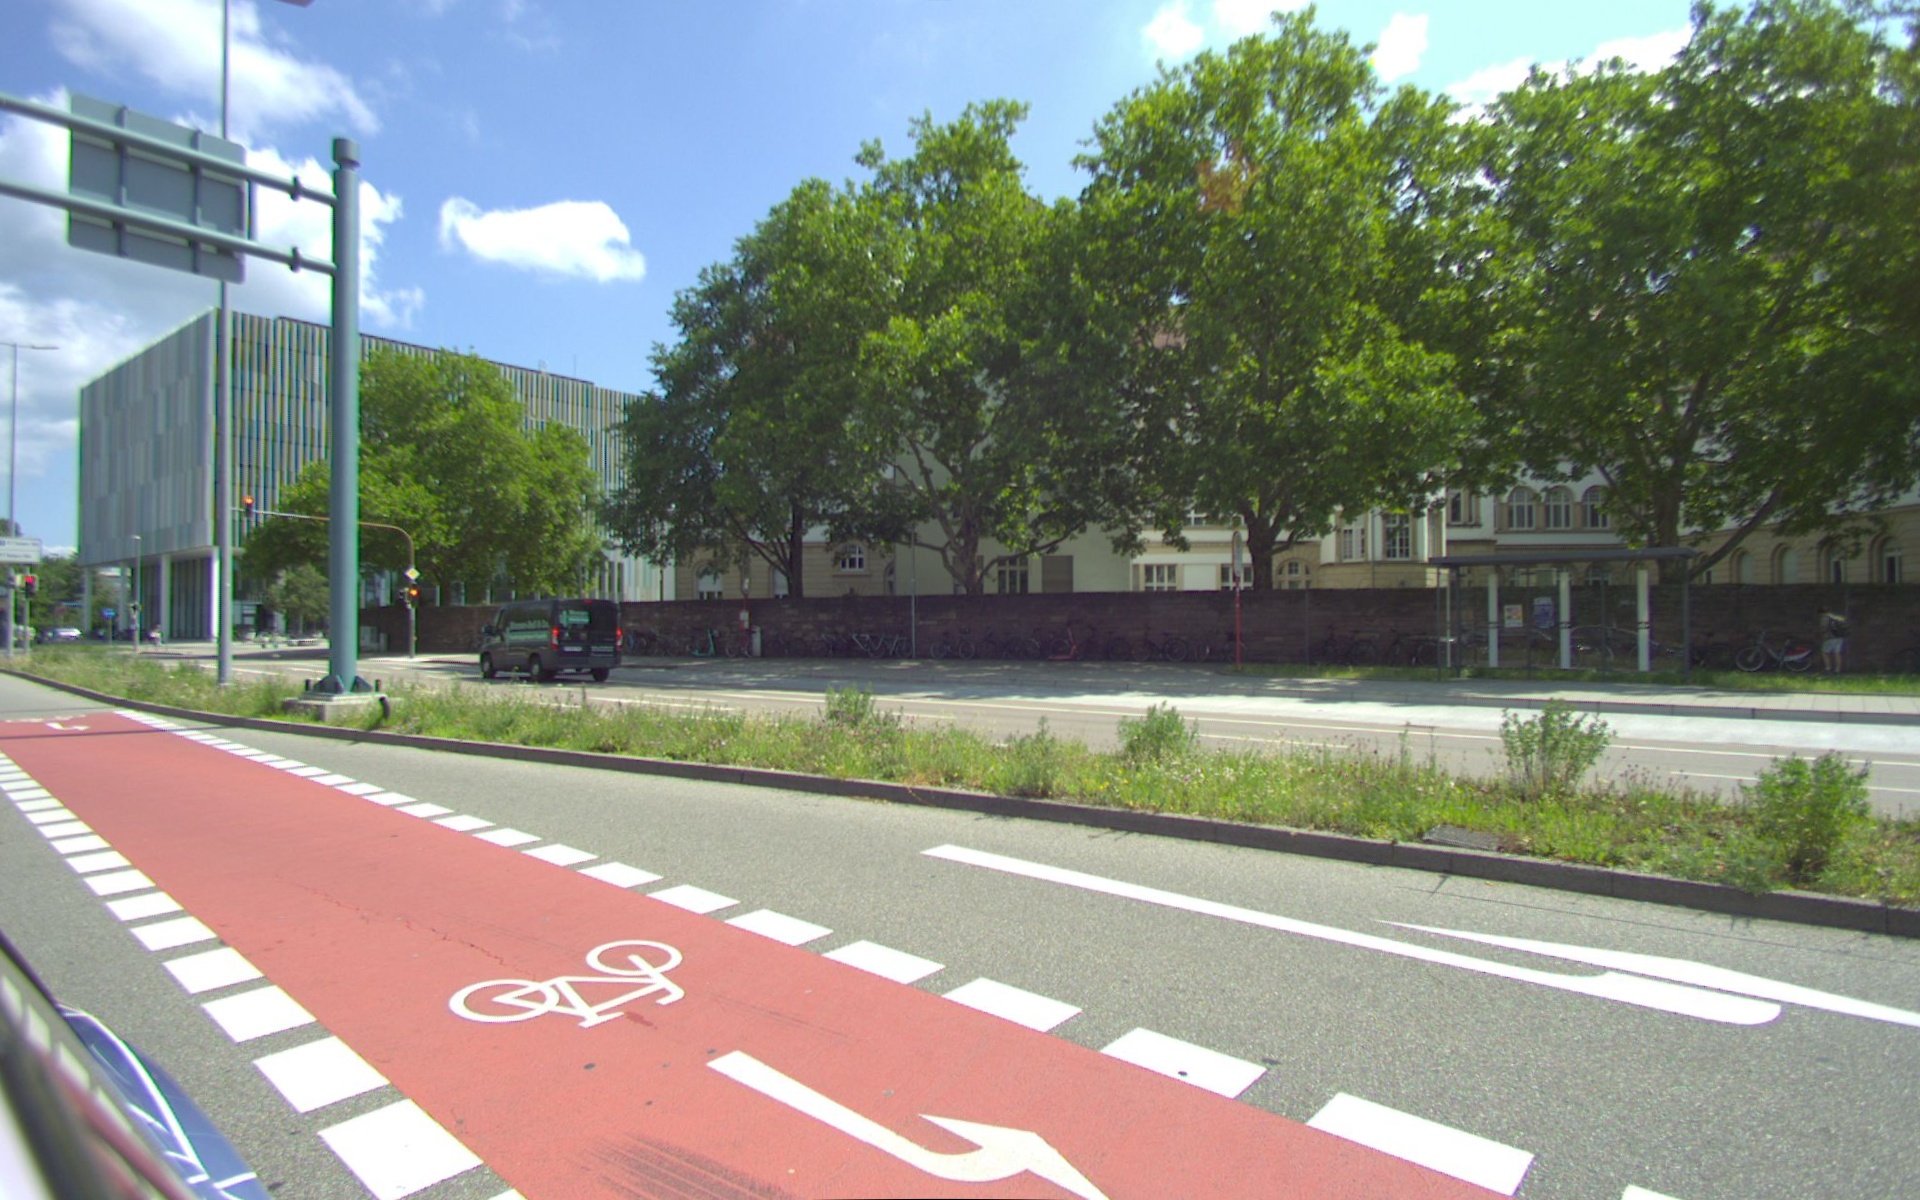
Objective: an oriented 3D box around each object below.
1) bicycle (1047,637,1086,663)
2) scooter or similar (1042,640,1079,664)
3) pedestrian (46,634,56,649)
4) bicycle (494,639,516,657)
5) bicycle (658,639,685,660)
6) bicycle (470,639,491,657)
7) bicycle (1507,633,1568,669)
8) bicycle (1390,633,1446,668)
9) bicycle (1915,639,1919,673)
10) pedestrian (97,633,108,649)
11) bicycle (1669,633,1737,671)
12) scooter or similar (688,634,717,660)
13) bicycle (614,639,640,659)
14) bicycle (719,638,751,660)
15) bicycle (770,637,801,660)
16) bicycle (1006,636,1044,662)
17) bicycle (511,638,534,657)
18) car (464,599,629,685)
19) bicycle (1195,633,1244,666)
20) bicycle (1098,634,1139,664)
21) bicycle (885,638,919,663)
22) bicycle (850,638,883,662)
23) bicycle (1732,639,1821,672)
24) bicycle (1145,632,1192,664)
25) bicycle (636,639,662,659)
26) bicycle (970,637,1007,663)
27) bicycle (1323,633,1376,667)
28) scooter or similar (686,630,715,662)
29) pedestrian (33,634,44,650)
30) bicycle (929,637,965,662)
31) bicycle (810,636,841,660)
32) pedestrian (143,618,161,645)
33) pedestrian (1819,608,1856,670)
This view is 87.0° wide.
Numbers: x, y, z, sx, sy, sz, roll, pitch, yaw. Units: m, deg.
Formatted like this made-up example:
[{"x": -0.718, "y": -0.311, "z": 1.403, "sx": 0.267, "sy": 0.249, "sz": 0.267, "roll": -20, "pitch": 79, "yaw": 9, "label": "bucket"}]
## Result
[{"x": 3.397, "y": 1.596, "z": 32.454, "sx": 1.230, "sy": 0.837, "sz": 0.262, "roll": -1, "pitch": -2, "yaw": 28, "label": "bicycle"}, {"x": 3.167, "y": 1.631, "z": 31.804, "sx": 1.133, "sy": 0.734, "sz": 0.264, "roll": -1, "pitch": -2, "yaw": 18, "label": "scooter or similar"}, {"x": -88.821, "y": 4.060, "z": 98.838, "sx": 0.686, "sy": 1.464, "sz": 0.689, "roll": 1, "pitch": -3, "yaw": -45, "label": "pedestrian"}, {"x": -21.091, "y": 2.230, "z": 46.914, "sx": 1.231, "sy": 0.837, "sz": 0.262, "roll": -2, "pitch": -2, "yaw": 30, "label": "bicycle"}, {"x": -11.579, "y": 1.970, "z": 40.577, "sx": 1.231, "sy": 0.837, "sz": 0.262, "roll": -2, "pitch": -2, "yaw": 30, "label": "bicycle"}, {"x": -22.718, "y": 2.254, "z": 47.964, "sx": 1.231, "sy": 0.837, "sz": 0.262, "roll": -2, "pitch": -2, "yaw": 30, "label": "bicycle"}, {"x": 15.619, "y": 1.371, "z": 27.385, "sx": 1.384, "sy": 0.972, "sz": 0.263, "roll": -1, "pitch": -2, "yaw": 18, "label": "bicycle"}, {"x": 12.852, "y": 1.407, "z": 28.415, "sx": 1.384, "sy": 0.972, "sz": 0.263, "roll": -1, "pitch": -2, "yaw": 18, "label": "bicycle"}, {"x": 24.429, "y": 1.359, "z": 24.598, "sx": 1.734, "sy": 0.823, "sz": 0.382, "roll": -1, "pitch": -2, "yaw": 18, "label": "bicycle"}, {"x": -76.812, "y": 3.686, "z": 90.620, "sx": 0.686, "sy": 1.464, "sz": 0.689, "roll": 1, "pitch": -2, "yaw": -44, "label": "pedestrian"}, {"x": 19.221, "y": 1.348, "z": 26.191, "sx": 1.384, "sy": 0.972, "sz": 0.263, "roll": -1, "pitch": -2, "yaw": 18, "label": "bicycle"}, {"x": -10.155, "y": 1.863, "z": 39.915, "sx": 1.133, "sy": 1.028, "sz": 0.264, "roll": -1, "pitch": -2, "yaw": 19, "label": "scooter or similar"}, {"x": -13.898, "y": 2.031, "z": 42.212, "sx": 1.231, "sy": 0.837, "sz": 0.262, "roll": -2, "pitch": -2, "yaw": 30, "label": "bicycle"}, {"x": -8.658, "y": 1.889, "z": 38.946, "sx": 1.226, "sy": 0.837, "sz": 0.263, "roll": -1, "pitch": -2, "yaw": 19, "label": "bicycle"}, {"x": -6.481, "y": 1.813, "z": 37.562, "sx": 1.231, "sy": 0.837, "sz": 0.262, "roll": -1, "pitch": -2, "yaw": 30, "label": "bicycle"}, {"x": 2.121, "y": 1.613, "z": 33.065, "sx": 1.230, "sy": 0.837, "sz": 0.262, "roll": -1, "pitch": -2, "yaw": 28, "label": "bicycle"}, {"x": -19.983, "y": 2.156, "z": 46.195, "sx": 1.230, "sy": 0.837, "sz": 0.262, "roll": -1, "pitch": -2, "yaw": 29, "label": "bicycle"}, {"x": -11.587, "y": 1.194, "z": 28.201, "sx": 5.014, "sy": 2.192, "sz": 2.126, "roll": -2, "pitch": -4, "yaw": 40, "label": "car"}, {"x": 7.795, "y": 1.472, "z": 30.412, "sx": 1.389, "sy": 0.972, "sz": 0.262, "roll": -1, "pitch": -2, "yaw": 28, "label": "bicycle"}, {"x": 4.938, "y": 1.525, "z": 31.600, "sx": 1.230, "sy": 0.915, "sz": 0.262, "roll": -1, "pitch": -2, "yaw": 28, "label": "bicycle"}, {"x": -2.026, "y": 1.754, "z": 35.113, "sx": 1.231, "sy": 0.837, "sz": 0.262, "roll": -1, "pitch": -2, "yaw": 30, "label": "bicycle"}, {"x": -3.320, "y": 1.757, "z": 35.931, "sx": 1.231, "sy": 0.837, "sz": 0.262, "roll": -1, "pitch": -2, "yaw": 30, "label": "bicycle"}, {"x": 20.733, "y": 1.408, "z": 25.717, "sx": 1.734, "sy": 0.823, "sz": 0.327, "roll": -1, "pitch": -2, "yaw": 18, "label": "bicycle"}, {"x": 6.389, "y": 1.479, "z": 31.032, "sx": 1.385, "sy": 0.972, "sz": 0.263, "roll": -1, "pitch": -2, "yaw": 20, "label": "bicycle"}, {"x": -12.743, "y": 2.011, "z": 41.481, "sx": 1.231, "sy": 0.837, "sz": 0.262, "roll": -2, "pitch": -2, "yaw": 30, "label": "bicycle"}, {"x": 0.949, "y": 1.659, "z": 33.715, "sx": 1.230, "sy": 0.837, "sz": 0.262, "roll": -1, "pitch": -2, "yaw": 28, "label": "bicycle"}, {"x": 11.167, "y": 1.429, "z": 29.029, "sx": 1.384, "sy": 0.972, "sz": 0.263, "roll": -1, "pitch": -2, "yaw": 18, "label": "bicycle"}, {"x": -9.973, "y": 1.762, "z": 38.855, "sx": 1.230, "sy": 1.199, "sz": 0.262, "roll": -1, "pitch": -2, "yaw": 29, "label": "scooter or similar"}, {"x": -86.006, "y": 3.947, "z": 94.480, "sx": 0.686, "sy": 1.464, "sz": 0.689, "roll": 1, "pitch": -3, "yaw": -45, "label": "pedestrian"}, {"x": -0.433, "y": 1.676, "z": 34.294, "sx": 1.230, "sy": 0.837, "sz": 0.262, "roll": -1, "pitch": -2, "yaw": 28, "label": "bicycle"}, {"x": -4.901, "y": 1.744, "z": 36.853, "sx": 1.231, "sy": 0.837, "sz": 0.262, "roll": -1, "pitch": -2, "yaw": 30, "label": "bicycle"}, {"x": -60.805, "y": 2.385, "z": 76.143, "sx": 0.994, "sy": 2.029, "sz": 0.853, "roll": -2, "pitch": -2, "yaw": 39, "label": "pedestrian"}, {"x": 21.481, "y": 0.943, "z": 24.783, "sx": 0.633, "sy": 1.484, "sz": 0.504, "roll": -2, "pitch": -2, "yaw": 39, "label": "pedestrian"}]
